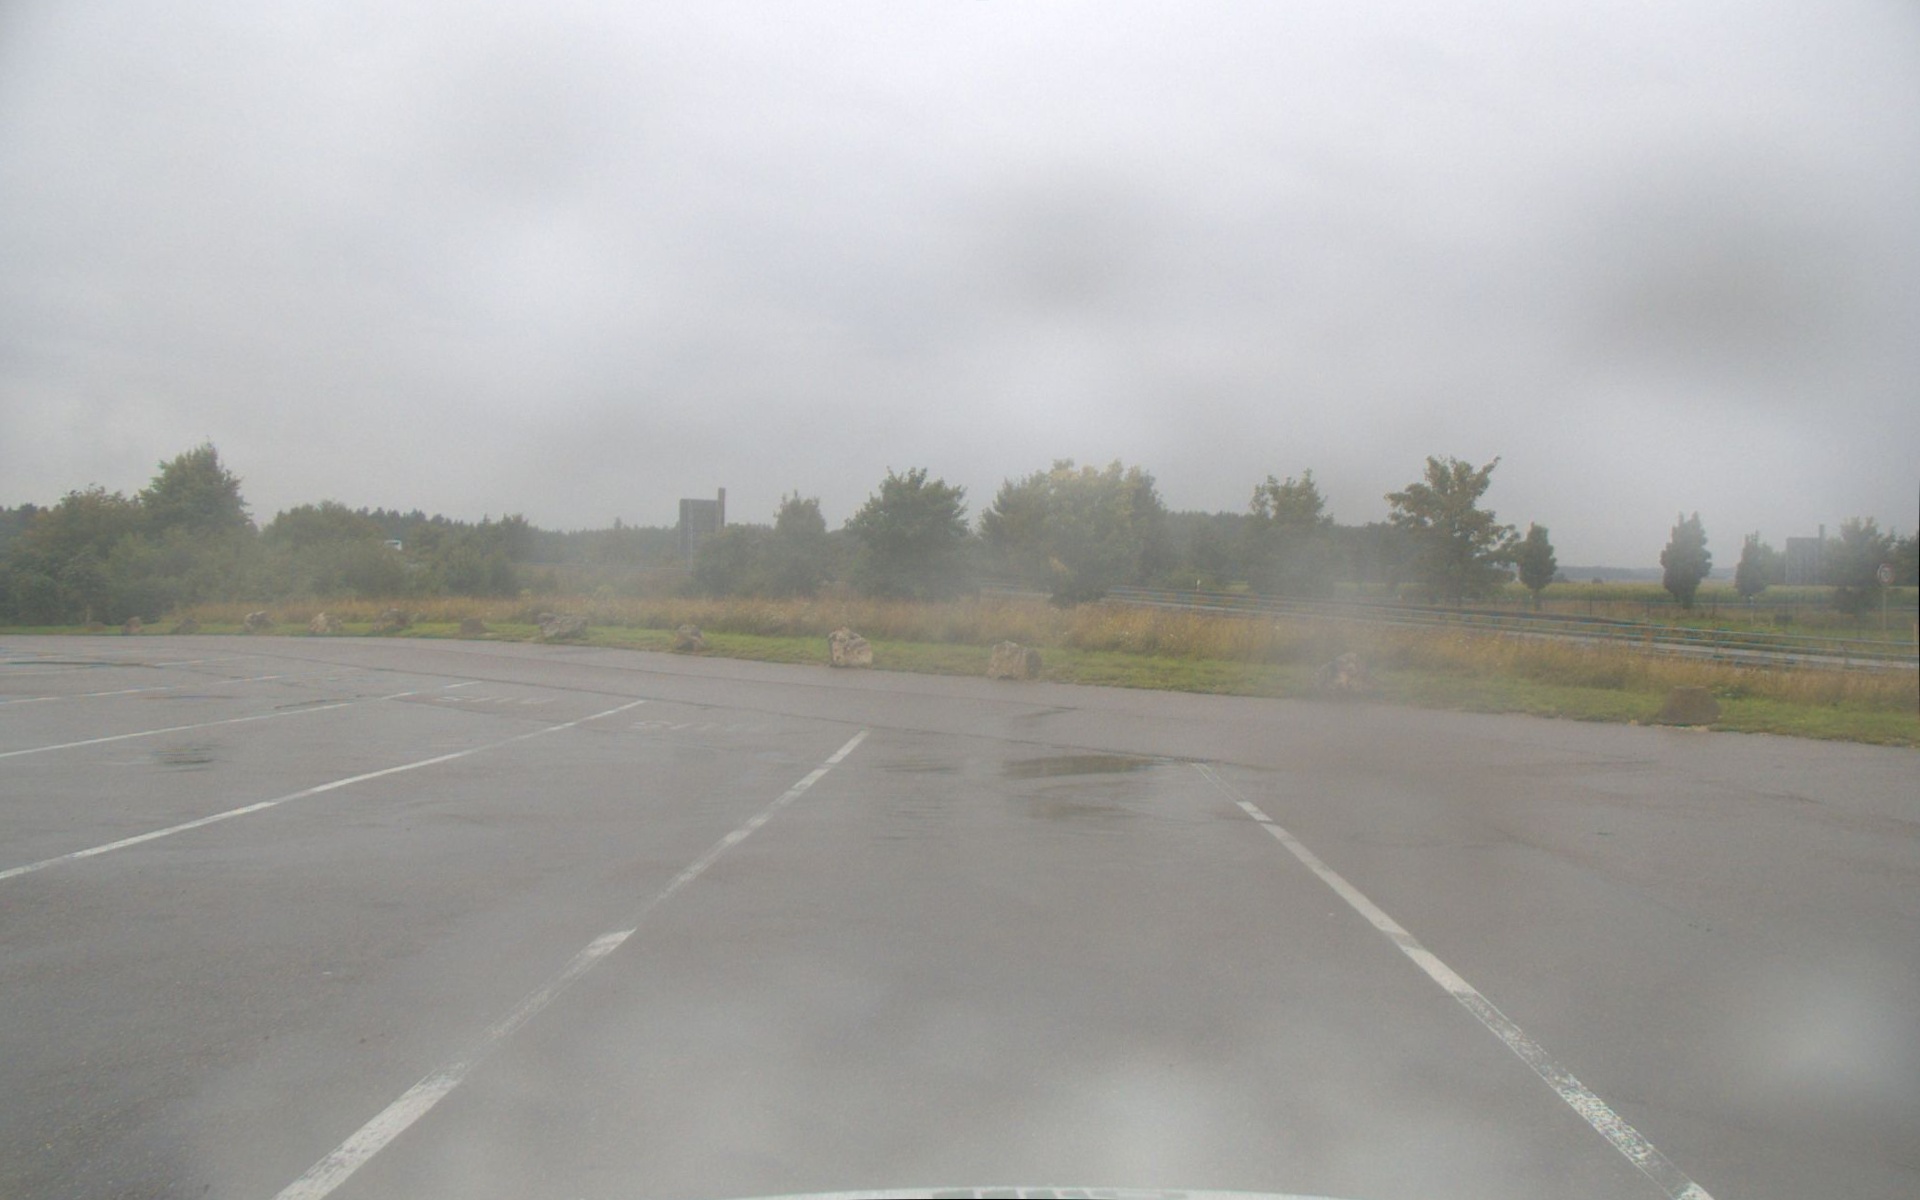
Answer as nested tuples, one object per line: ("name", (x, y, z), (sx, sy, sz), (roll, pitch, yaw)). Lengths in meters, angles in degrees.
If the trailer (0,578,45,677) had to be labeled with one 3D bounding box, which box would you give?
("trailer", (-16.033, 0.448, 25.280), (1.659, 1.559, 4.002), (-1, 0, 4))
